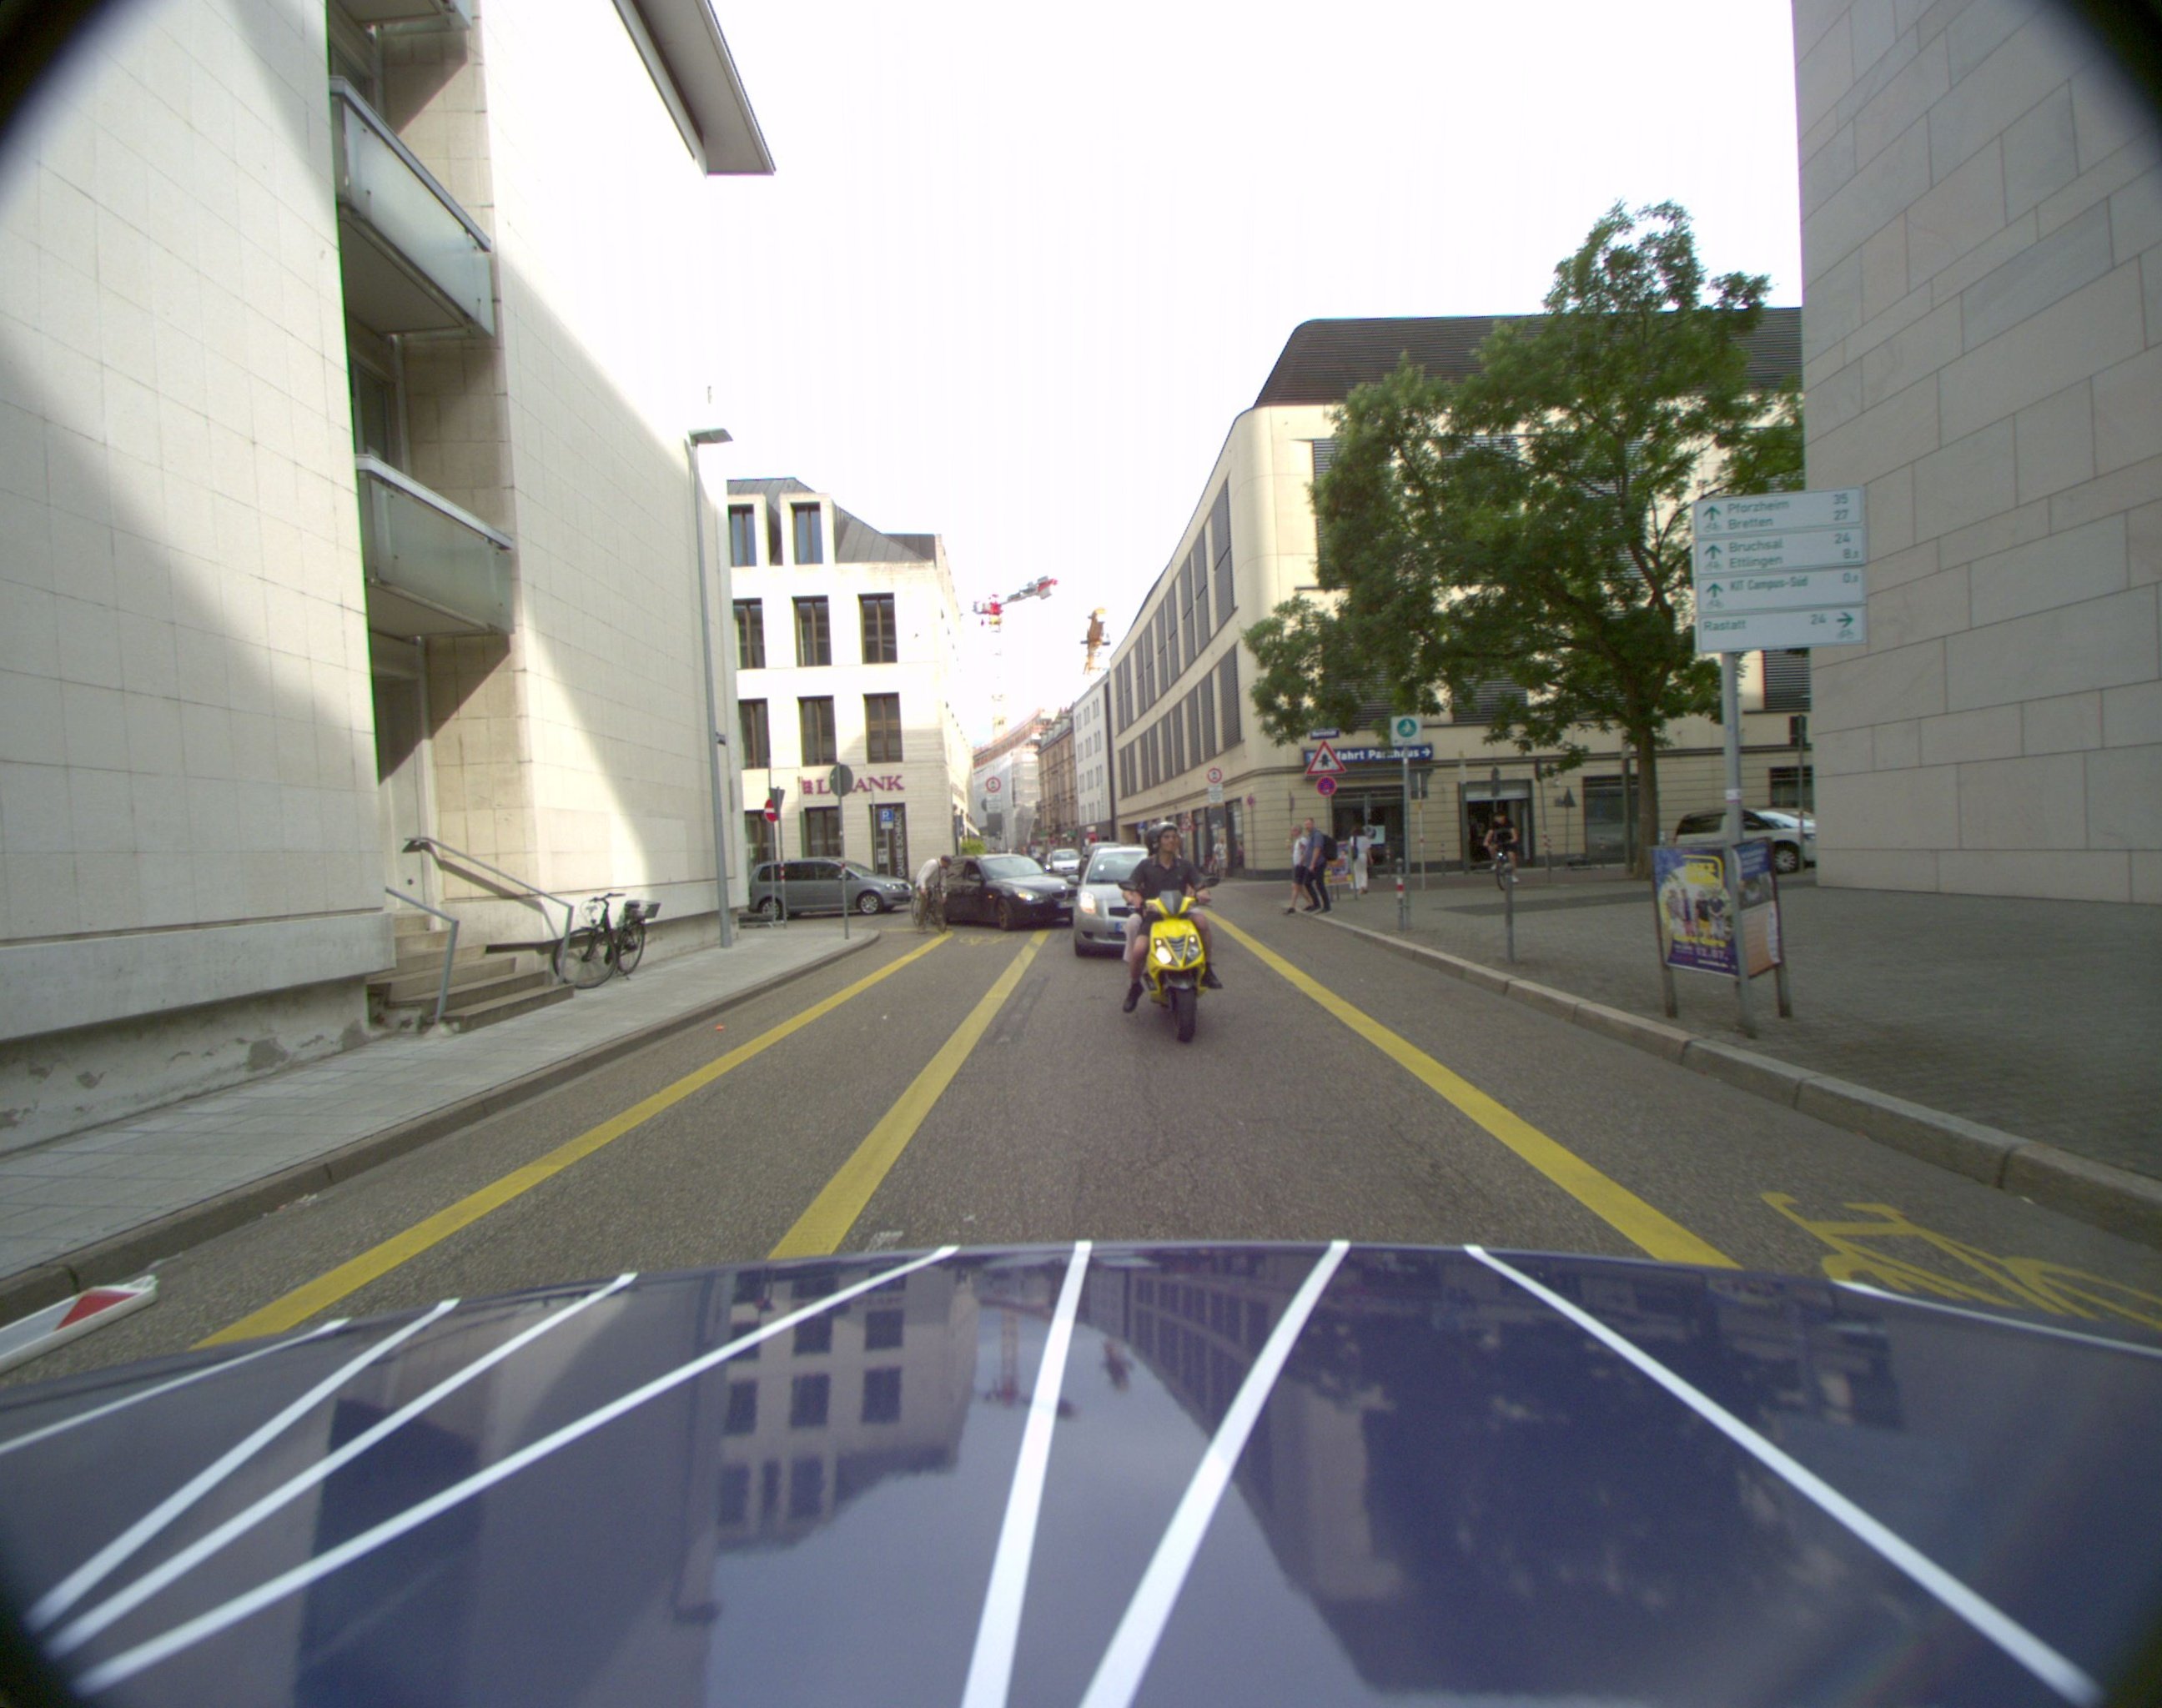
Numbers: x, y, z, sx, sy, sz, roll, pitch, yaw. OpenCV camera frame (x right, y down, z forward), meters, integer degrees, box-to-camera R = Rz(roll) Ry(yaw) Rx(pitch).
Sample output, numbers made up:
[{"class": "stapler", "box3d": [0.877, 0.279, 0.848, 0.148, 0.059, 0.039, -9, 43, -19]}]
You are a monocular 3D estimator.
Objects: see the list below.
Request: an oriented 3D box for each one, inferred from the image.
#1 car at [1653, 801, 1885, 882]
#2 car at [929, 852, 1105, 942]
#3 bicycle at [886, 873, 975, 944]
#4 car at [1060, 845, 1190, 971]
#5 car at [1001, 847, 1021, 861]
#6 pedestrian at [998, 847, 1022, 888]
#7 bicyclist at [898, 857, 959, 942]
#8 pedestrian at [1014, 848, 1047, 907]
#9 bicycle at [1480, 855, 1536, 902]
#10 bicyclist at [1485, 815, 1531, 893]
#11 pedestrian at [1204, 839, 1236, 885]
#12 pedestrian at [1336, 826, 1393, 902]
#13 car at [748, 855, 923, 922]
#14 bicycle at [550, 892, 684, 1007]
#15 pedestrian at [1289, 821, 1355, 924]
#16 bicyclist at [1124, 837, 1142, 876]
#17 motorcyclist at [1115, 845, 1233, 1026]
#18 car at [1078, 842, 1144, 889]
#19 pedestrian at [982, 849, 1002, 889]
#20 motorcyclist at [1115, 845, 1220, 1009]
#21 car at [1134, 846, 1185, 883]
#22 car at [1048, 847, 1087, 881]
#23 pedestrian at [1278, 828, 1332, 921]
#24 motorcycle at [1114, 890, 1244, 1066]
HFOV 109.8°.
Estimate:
[{"class": "car", "box3d": [16.363, -0.239, 18.397, 1.899, 1.683, 3.963, -2, -1, -2]}, {"class": "car", "box3d": [-1.405, 0.788, 15.368, 1.720, 1.482, 3.755, -4, 1, -37]}, {"class": "bicycle", "box3d": [-3.066, 1.025, 15.193, 0.872, 1.188, 2.857, -3, 1, -28]}, {"class": "car", "box3d": [0.686, 0.665, 11.466, 1.562, 1.482, 3.784, -3, 1, 4]}, {"class": "car", "box3d": [-7.894, -0.006, 85.568, 1.590, 1.477, 3.995, -3, 1, -13]}, {"class": "pedestrian", "box3d": [-3.318, 0.630, 35.406, 0.860, 1.820, 0.774, -2, 2, 9]}, {"class": "bicyclist", "box3d": [-3.037, 0.870, 15.125, 0.894, 1.585, 0.875, -3, 2, -29]}, {"class": "pedestrian", "box3d": [-1.618, 0.721, 24.258, 0.774, 1.820, 0.860, -3, 2, -18]}, {"class": "bicycle", "box3d": [9.102, 0.509, 16.150, 0.600, 0.829, 1.728, -7, -2, 42]}, {"class": "bicyclist", "box3d": [9.112, -0.003, 16.207, 0.621, 1.610, 0.645, -5, 1, 42]}, {"class": "pedestrian", "box3d": [5.699, 0.321, 31.218, 0.892, 1.755, 1.060, -6, 2, -6]}, {"class": "pedestrian", "box3d": [6.761, 0.228, 18.144, 0.879, 1.699, 0.910, -6, 2, 2]}, {"class": "car", "box3d": [-6.694, 0.917, 21.044, 4.193, 1.581, 1.815, -2, 1, 0]}, {"class": "bicycle", "box3d": [-5.764, 1.133, 9.576, 0.590, 1.161, 1.814, -2, 1, -3]}, {"class": "pedestrian", "box3d": [4.497, 0.335, 14.192, 0.745, 1.804, 0.756, -6, 2, -10]}, {"class": "bicyclist", "box3d": [2.236, 0.098, 32.726, 0.645, 1.644, 0.939, 0, 2, -3]}, {"class": "motorcyclist", "box3d": [0.768, 0.656, 6.635, 0.924, 1.445, 1.065, -1, 1, 2]}, {"class": "car", "box3d": [0.994, 0.365, 27.541, 1.710, 1.482, 4.100, -3, 1, -7]}, {"class": "pedestrian", "box3d": [-4.180, 0.703, 35.773, 0.861, 1.820, 0.773, -3, 2, -5]}, {"class": "motorcyclist", "box3d": [0.782, 0.644, 7.101, 0.903, 1.445, 0.742, -1, 1, 2]}, {"class": "car", "box3d": [3.647, 0.450, 36.142, 1.563, 1.548, 4.100, -3, 1, -6]}, {"class": "car", "box3d": [-0.744, 0.460, 38.968, 1.563, 1.548, 4.100, -3, 1, -6]}, {"class": "pedestrian", "box3d": [4.424, 0.394, 15.054, 0.644, 1.755, 0.653, -6, 2, -10]}, {"class": "motorcycle", "box3d": [0.762, 0.962, 6.612, 0.929, 1.159, 2.127, -1, 1, 2]}]
